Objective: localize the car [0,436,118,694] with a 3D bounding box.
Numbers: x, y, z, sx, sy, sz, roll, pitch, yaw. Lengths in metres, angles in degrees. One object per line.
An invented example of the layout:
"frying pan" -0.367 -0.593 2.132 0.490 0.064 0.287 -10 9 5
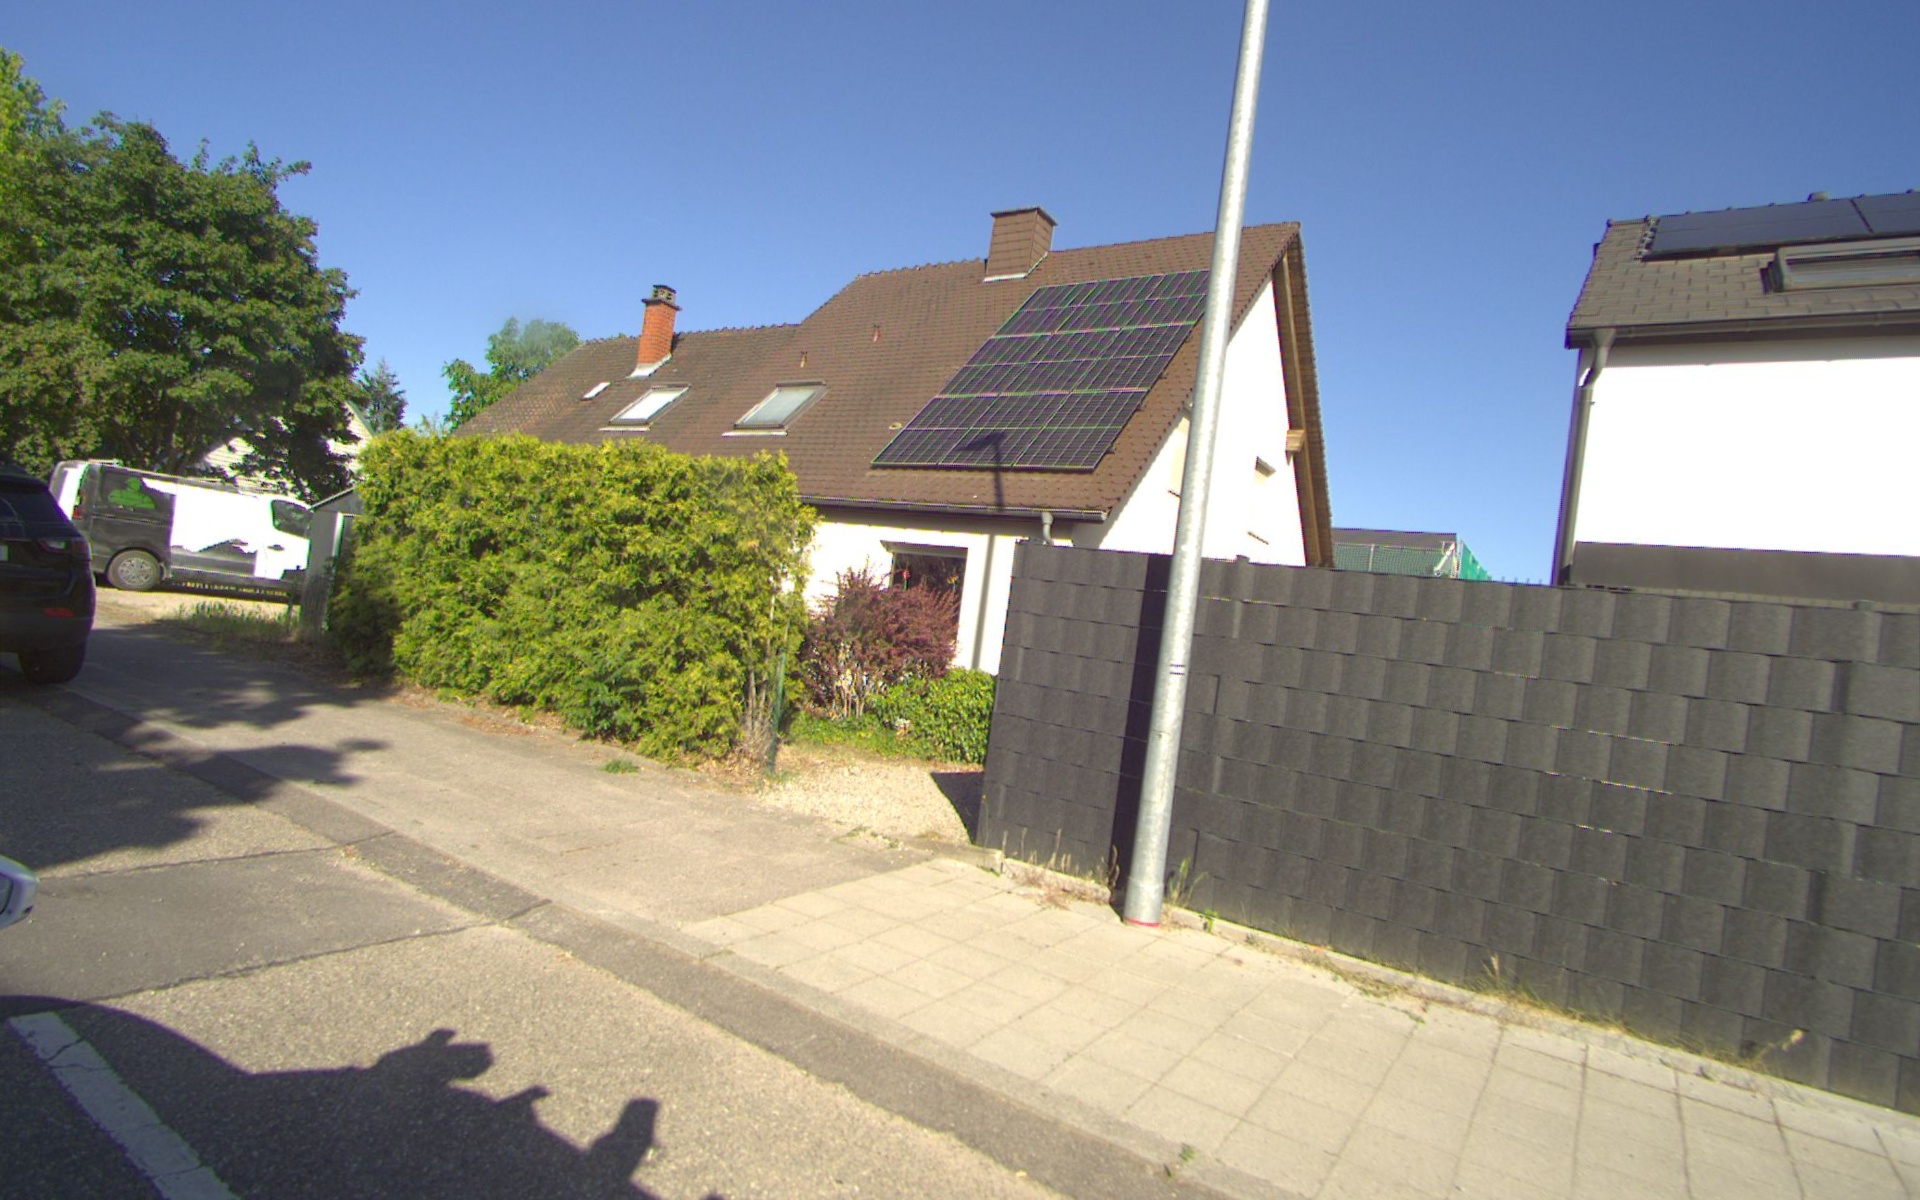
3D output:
"car" -8.491 -0.453 7.696 4.223 1.744 1.781 6 -2 32

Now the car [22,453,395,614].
"car" -12.964 -1.064 17.688 2.109 2.006 4.687 6 -2 34
